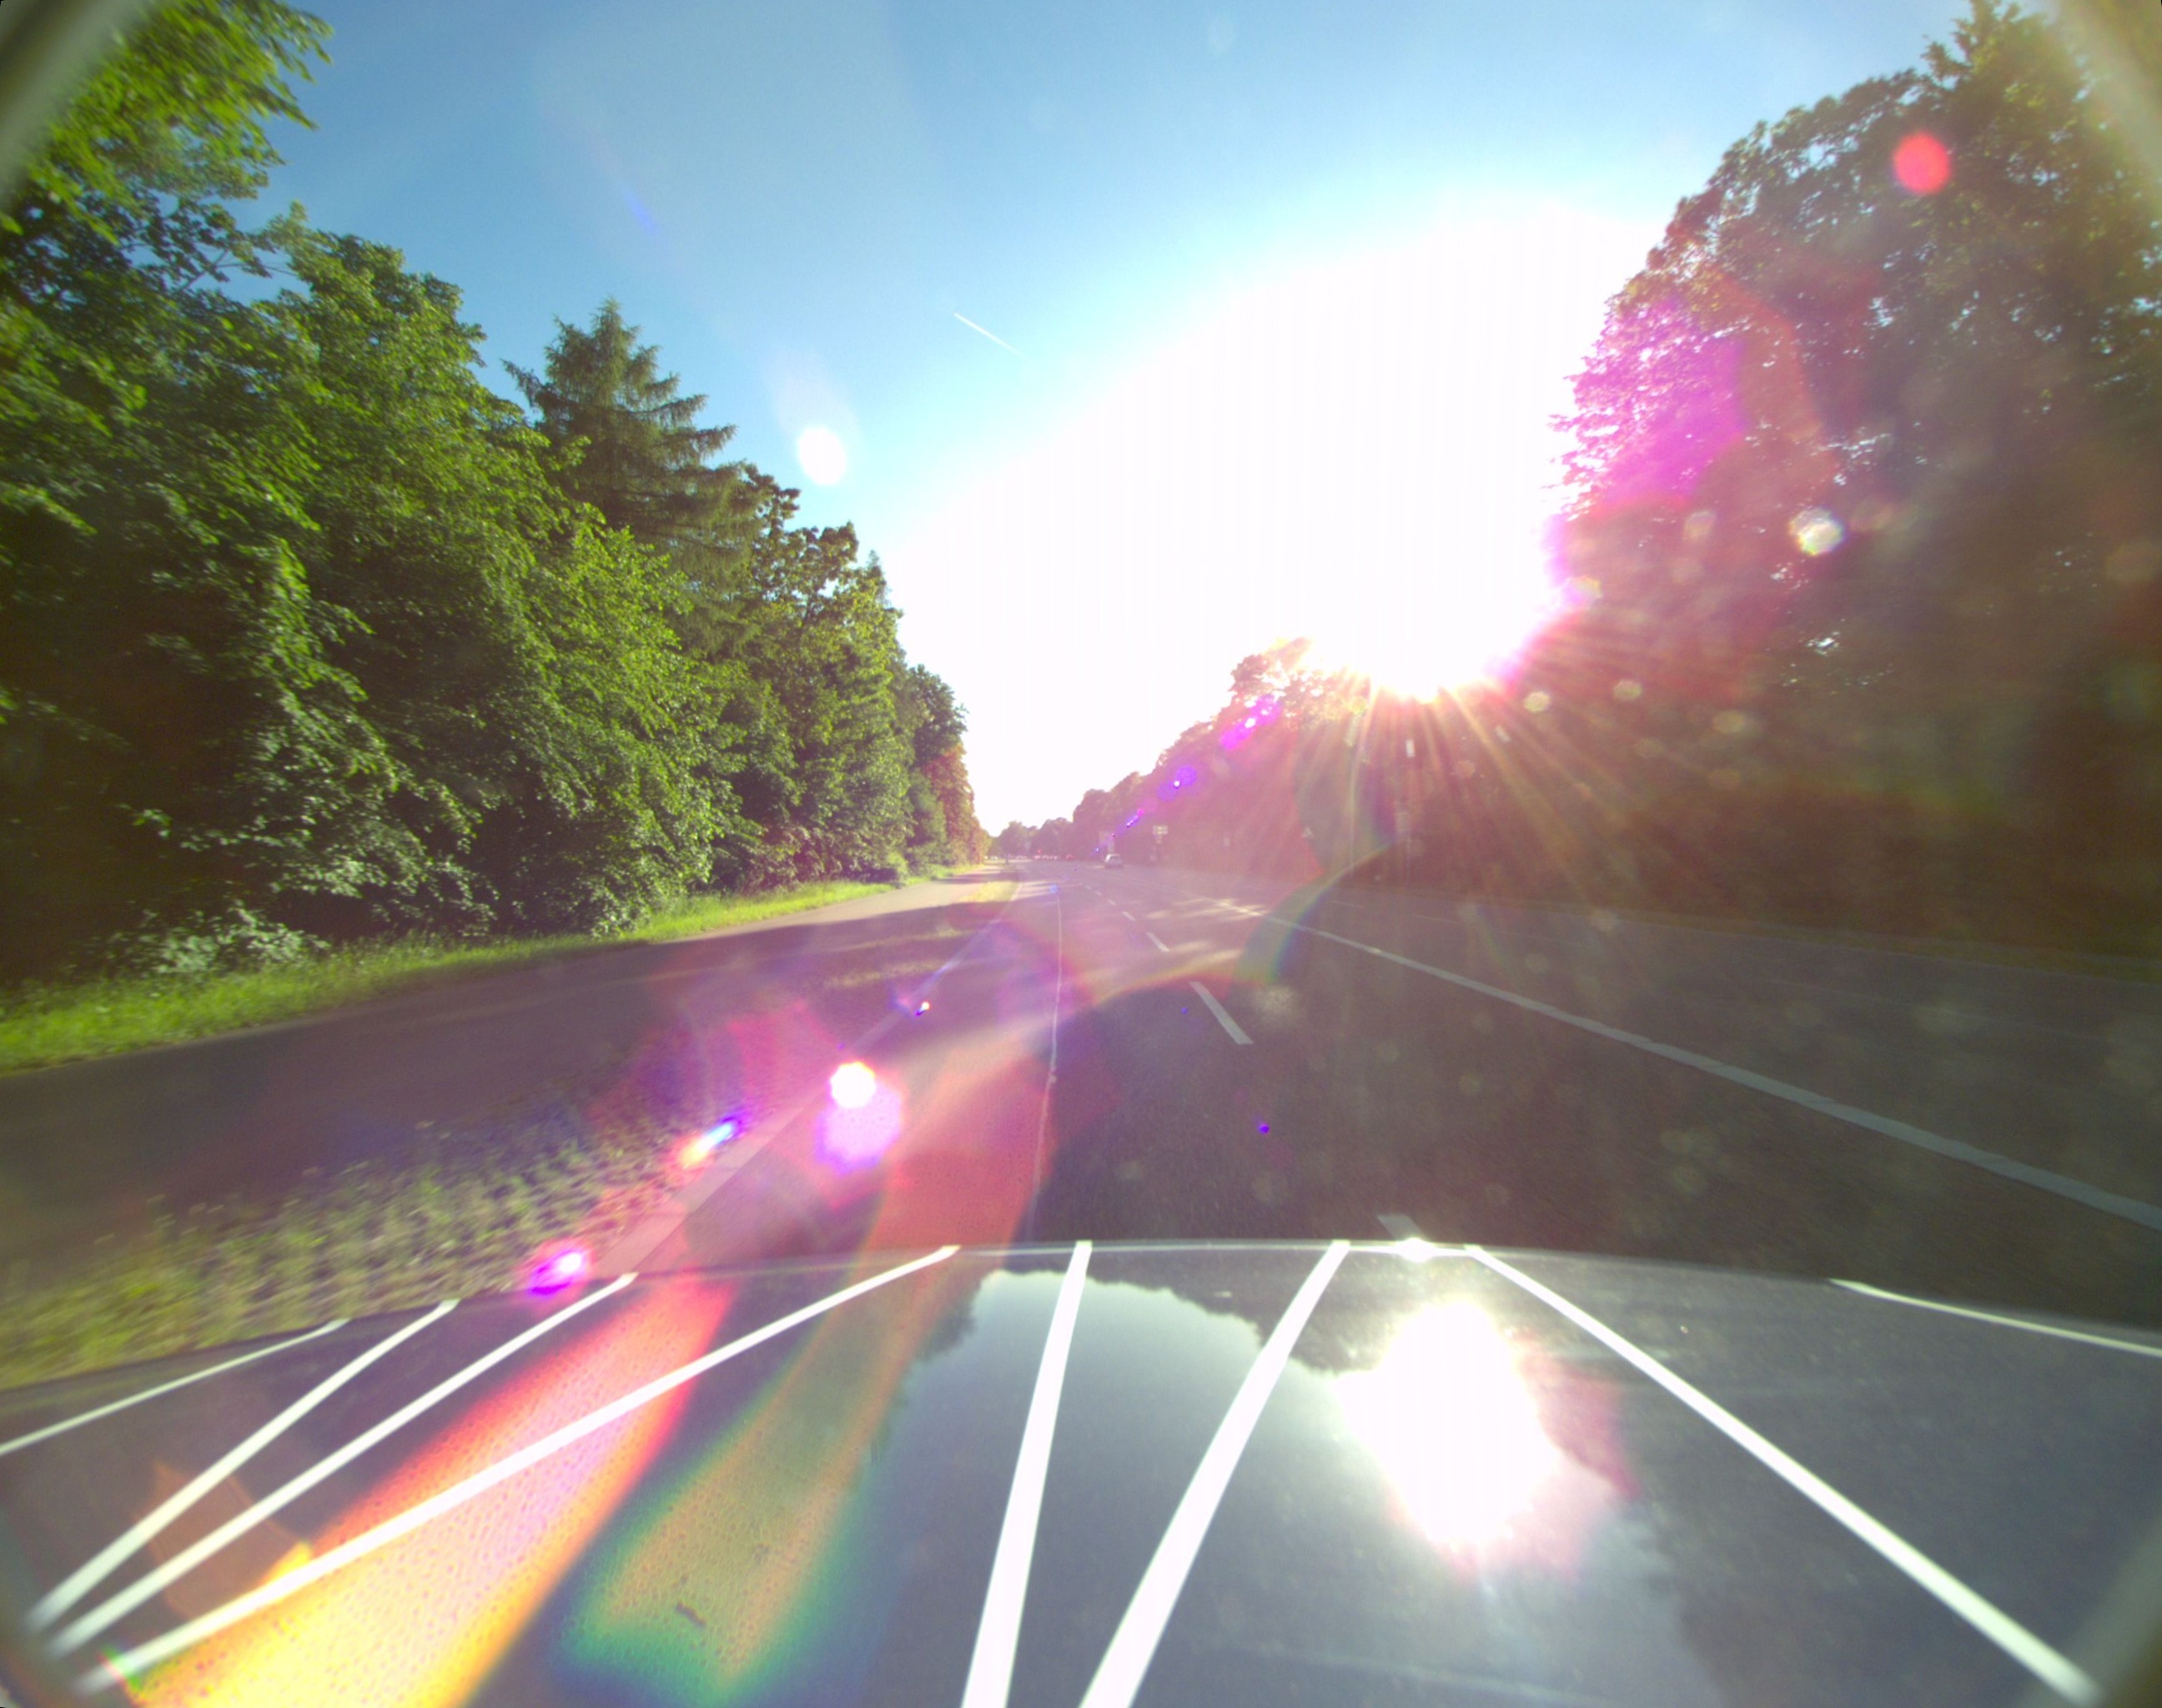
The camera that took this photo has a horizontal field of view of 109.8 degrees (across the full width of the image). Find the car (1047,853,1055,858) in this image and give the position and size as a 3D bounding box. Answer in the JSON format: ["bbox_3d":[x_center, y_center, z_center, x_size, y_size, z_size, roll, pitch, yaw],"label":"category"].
[{"bbox_3d":[-9.976,0.487,255.032,2.000,1.555,4.334,0,0,-10],"label":"car"}]

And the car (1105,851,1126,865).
[{"bbox_3d":[4.063,0.463,89.670,1.913,1.654,4.731,-1,0,-5],"label":"car"}]

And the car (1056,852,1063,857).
[{"bbox_3d":[-6.773,0.224,236.991,1.830,1.495,4.304,-1,0,-5],"label":"car"}]

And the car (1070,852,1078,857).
[{"bbox_3d":[-2.041,0.134,208.469,1.830,1.580,4.349,-1,0,-5],"label":"car"}]

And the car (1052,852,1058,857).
[{"bbox_3d":[-8.469,0.249,248.633,1.830,1.536,4.255,-1,0,-3],"label":"car"}]
